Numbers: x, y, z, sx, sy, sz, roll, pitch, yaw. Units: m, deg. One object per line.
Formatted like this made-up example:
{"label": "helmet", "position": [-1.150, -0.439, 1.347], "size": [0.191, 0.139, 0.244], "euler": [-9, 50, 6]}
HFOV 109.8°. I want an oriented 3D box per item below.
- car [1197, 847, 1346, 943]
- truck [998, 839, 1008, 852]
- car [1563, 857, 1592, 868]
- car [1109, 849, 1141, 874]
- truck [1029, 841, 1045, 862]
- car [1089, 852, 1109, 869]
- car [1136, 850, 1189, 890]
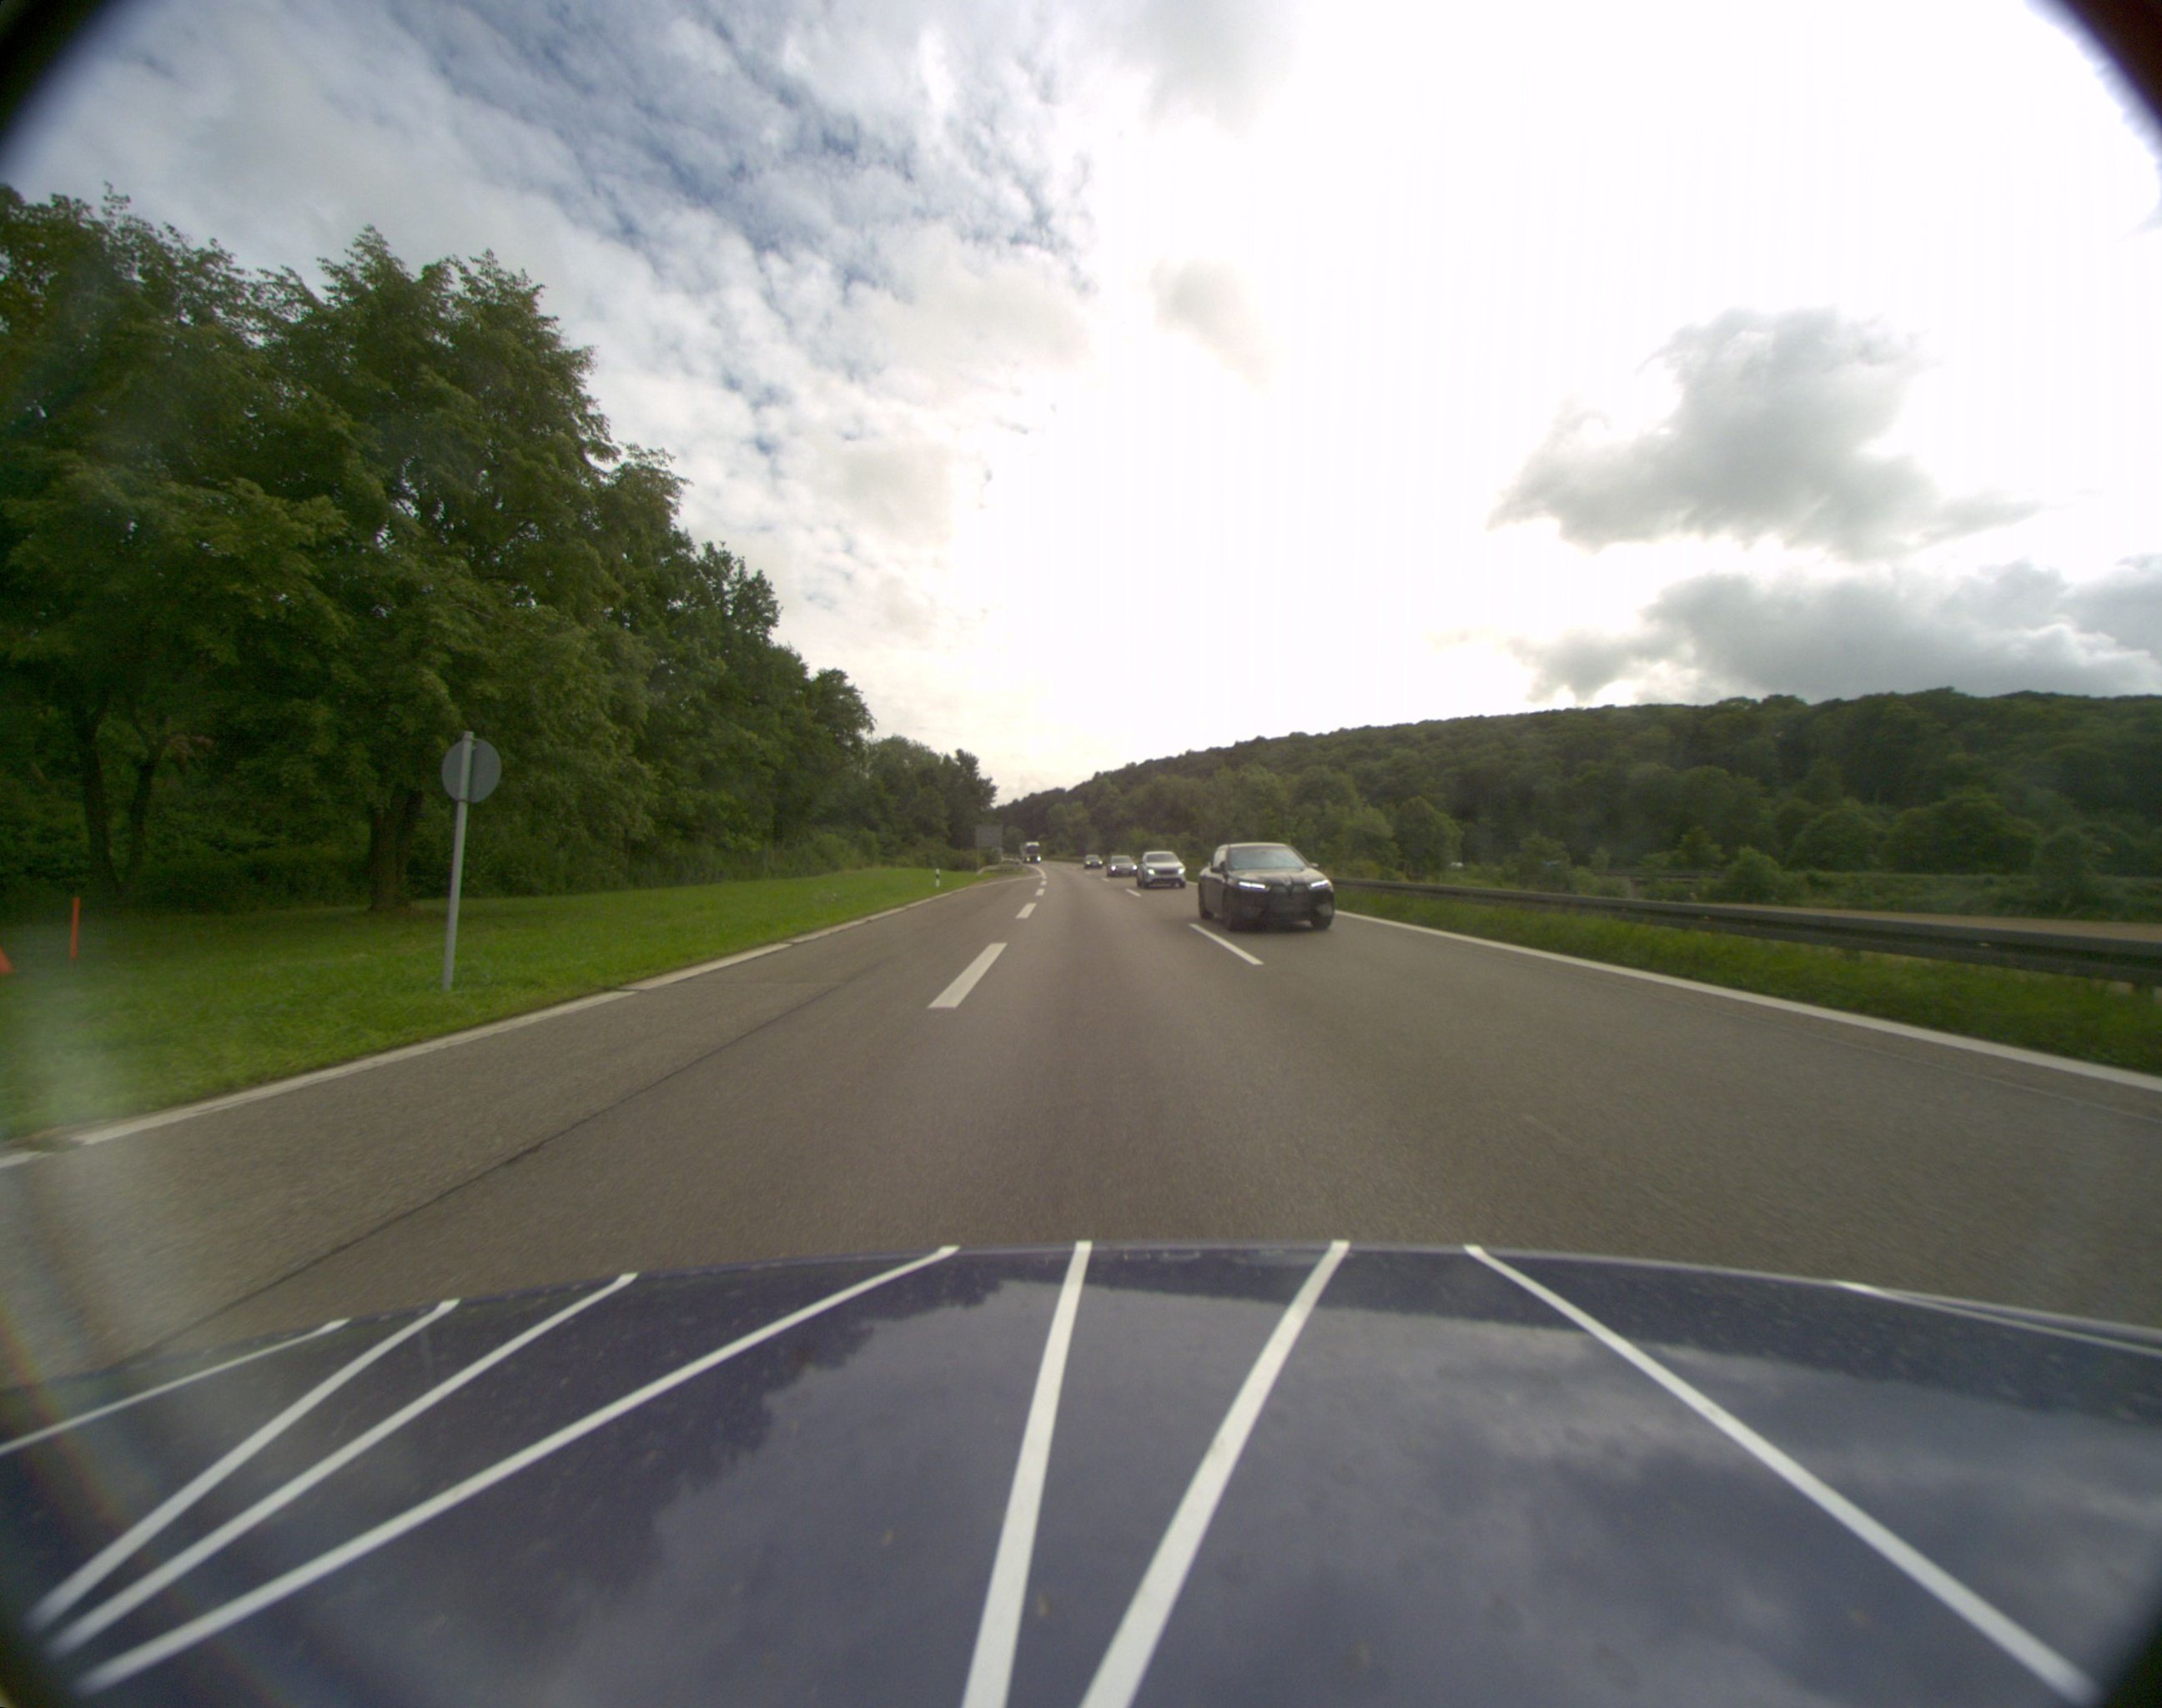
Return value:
{"label": "car", "position": [3.724, 0.713, 15.752], "size": [1.998, 1.656, 4.414], "euler": [-2, 1, 1]}
{"label": "truck", "position": [-23.436, -2.570, 228.080], "size": [2.796, 3.949, 5.936], "euler": [-1, 1, -5]}
{"label": "car", "position": [100.074, 1.689, 153.027], "size": [2.005, 1.798, 4.444], "euler": [3, 1, -44]}
{"label": "car", "position": [3.087, 0.528, 54.225], "size": [1.999, 1.656, 4.414], "euler": [-1, 1, -1]}
{"label": "truck", "position": [-8.399, -0.562, 144.691], "size": [2.796, 3.949, 5.938], "euler": [-1, 1, -2]}
{"label": "car", "position": [1.877, 0.656, 80.137], "size": [1.998, 1.656, 4.413], "euler": [0, 2, 0]}
{"label": "car", "position": [3.692, 0.666, 34.998], "size": [1.998, 1.656, 4.414], "euler": [-1, 1, 0]}
